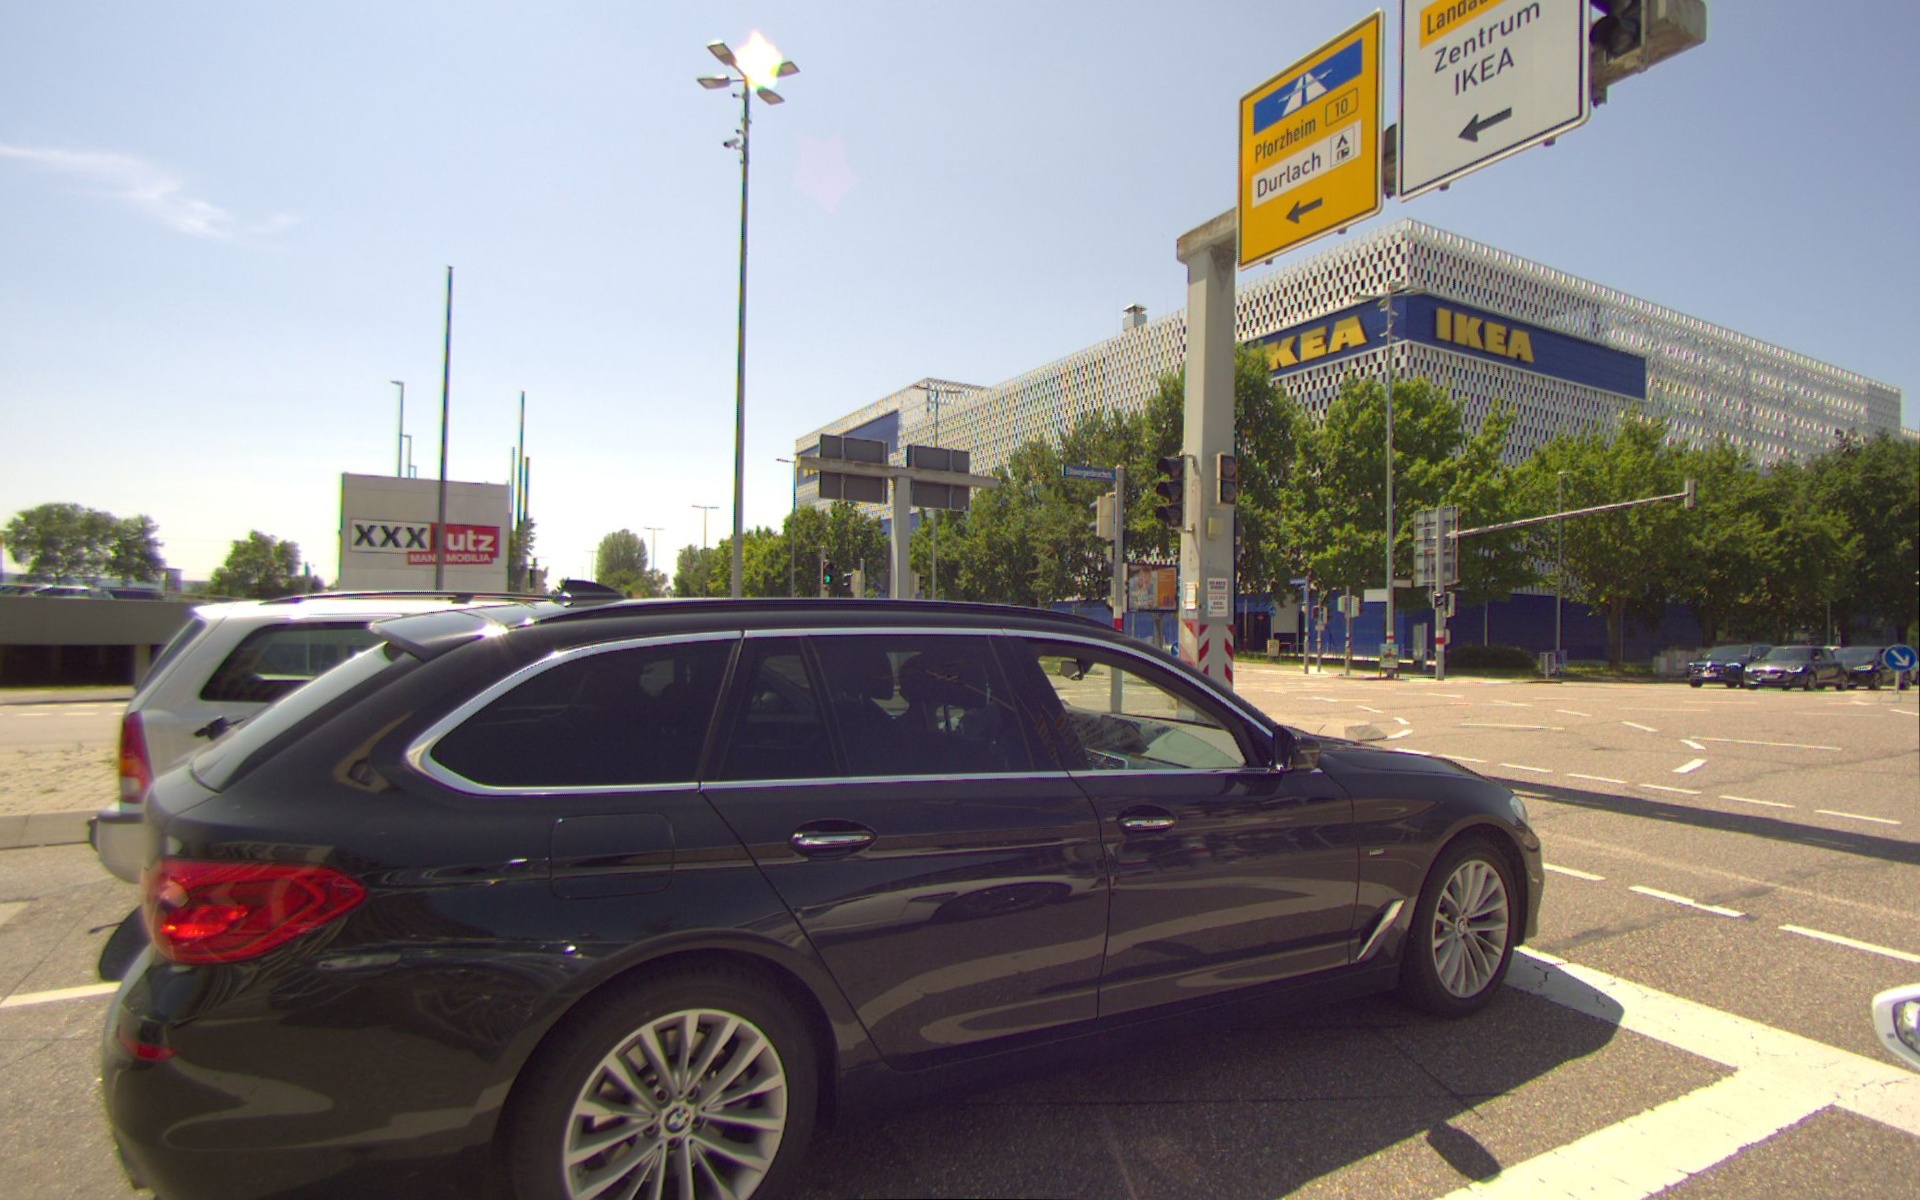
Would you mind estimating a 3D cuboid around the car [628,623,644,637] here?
[{"bbox_3d":[-46.316,4.290,143.563,1.607,1.835,3.474,1,-2,-27],"label":"car"}]

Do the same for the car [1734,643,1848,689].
[{"bbox_3d":[27.169,2.164,32.830,3.671,1.407,1.637,3,-4,-30],"label":"car"}]

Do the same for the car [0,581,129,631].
[{"bbox_3d":[-39.569,0.290,44.252,4.284,2.040,1.982,2,-2,-34],"label":"car"}]

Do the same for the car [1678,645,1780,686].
[{"bbox_3d":[28.731,2.451,37.516,3.992,1.442,1.653,3,-3,-31],"label":"car"}]

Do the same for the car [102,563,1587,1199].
[{"bbox_3d":[0.100,0.739,3.559,4.505,1.459,1.788,2,-1,-31],"label":"car"}]

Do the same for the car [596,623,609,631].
[{"bbox_3d":[-60.653,4.553,170.394,1.608,1.368,3.472,2,-2,-29],"label":"car"}]

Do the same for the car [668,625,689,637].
[{"bbox_3d":[-37.790,4.210,134.933,1.975,1.572,3.972,2,-2,-27],"label":"car"}]

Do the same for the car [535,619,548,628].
[{"bbox_3d":[-73.169,4.071,175.556,1.836,1.528,3.971,2,-2,-28],"label":"car"}]

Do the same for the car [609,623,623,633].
[{"bbox_3d":[-55.430,4.549,161.866,1.608,1.629,3.471,2,-2,-29],"label":"car"}]

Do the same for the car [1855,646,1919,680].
[{"bbox_3d":[42.747,2.884,45.925,3.870,1.505,1.642,3,-3,-31],"label":"car"}]

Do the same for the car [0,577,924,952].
[{"bbox_3d":[-2.345,0.660,5.553,3.959,1.441,1.685,1,0,-29],"label":"car"}]

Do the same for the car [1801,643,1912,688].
[{"bbox_3d":[32.343,2.374,36.217,4.193,1.524,1.719,3,-4,-30],"label":"car"}]

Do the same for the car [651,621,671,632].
[{"bbox_3d":[-42.974,3.814,144.354,1.976,1.572,3.970,2,-2,-29],"label":"car"}]

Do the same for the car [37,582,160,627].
[{"bbox_3d":[-42.076,0.267,49.227,4.285,2.040,1.981,2,-2,-34],"label":"car"}]

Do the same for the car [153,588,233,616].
[{"bbox_3d":[-52.434,0.156,68.757,4.086,1.764,1.770,2,-2,-30],"label":"car"}]

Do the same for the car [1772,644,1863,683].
[{"bbox_3d":[35.648,2.648,41.739,3.870,1.564,1.718,3,-3,-31],"label":"car"}]

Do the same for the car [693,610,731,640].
[{"bbox_3d":[-19.577,1.969,79.050,1.973,2.212,5.019,1,-2,-25],"label":"car"}]

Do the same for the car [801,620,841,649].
[{"bbox_3d":[-10.111,2.482,72.736,1.750,2.040,3.813,1,-2,-26],"label":"car"}]

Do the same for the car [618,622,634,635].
[{"bbox_3d":[-49.591,4.210,149.040,1.609,1.938,3.471,2,-2,-30],"label":"car"}]

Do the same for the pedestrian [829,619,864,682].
[{"bbox_3d":[-3.313,1.468,29.295,0.816,1.807,0.601,2,-2,-27],"label":"pedestrian"}]
